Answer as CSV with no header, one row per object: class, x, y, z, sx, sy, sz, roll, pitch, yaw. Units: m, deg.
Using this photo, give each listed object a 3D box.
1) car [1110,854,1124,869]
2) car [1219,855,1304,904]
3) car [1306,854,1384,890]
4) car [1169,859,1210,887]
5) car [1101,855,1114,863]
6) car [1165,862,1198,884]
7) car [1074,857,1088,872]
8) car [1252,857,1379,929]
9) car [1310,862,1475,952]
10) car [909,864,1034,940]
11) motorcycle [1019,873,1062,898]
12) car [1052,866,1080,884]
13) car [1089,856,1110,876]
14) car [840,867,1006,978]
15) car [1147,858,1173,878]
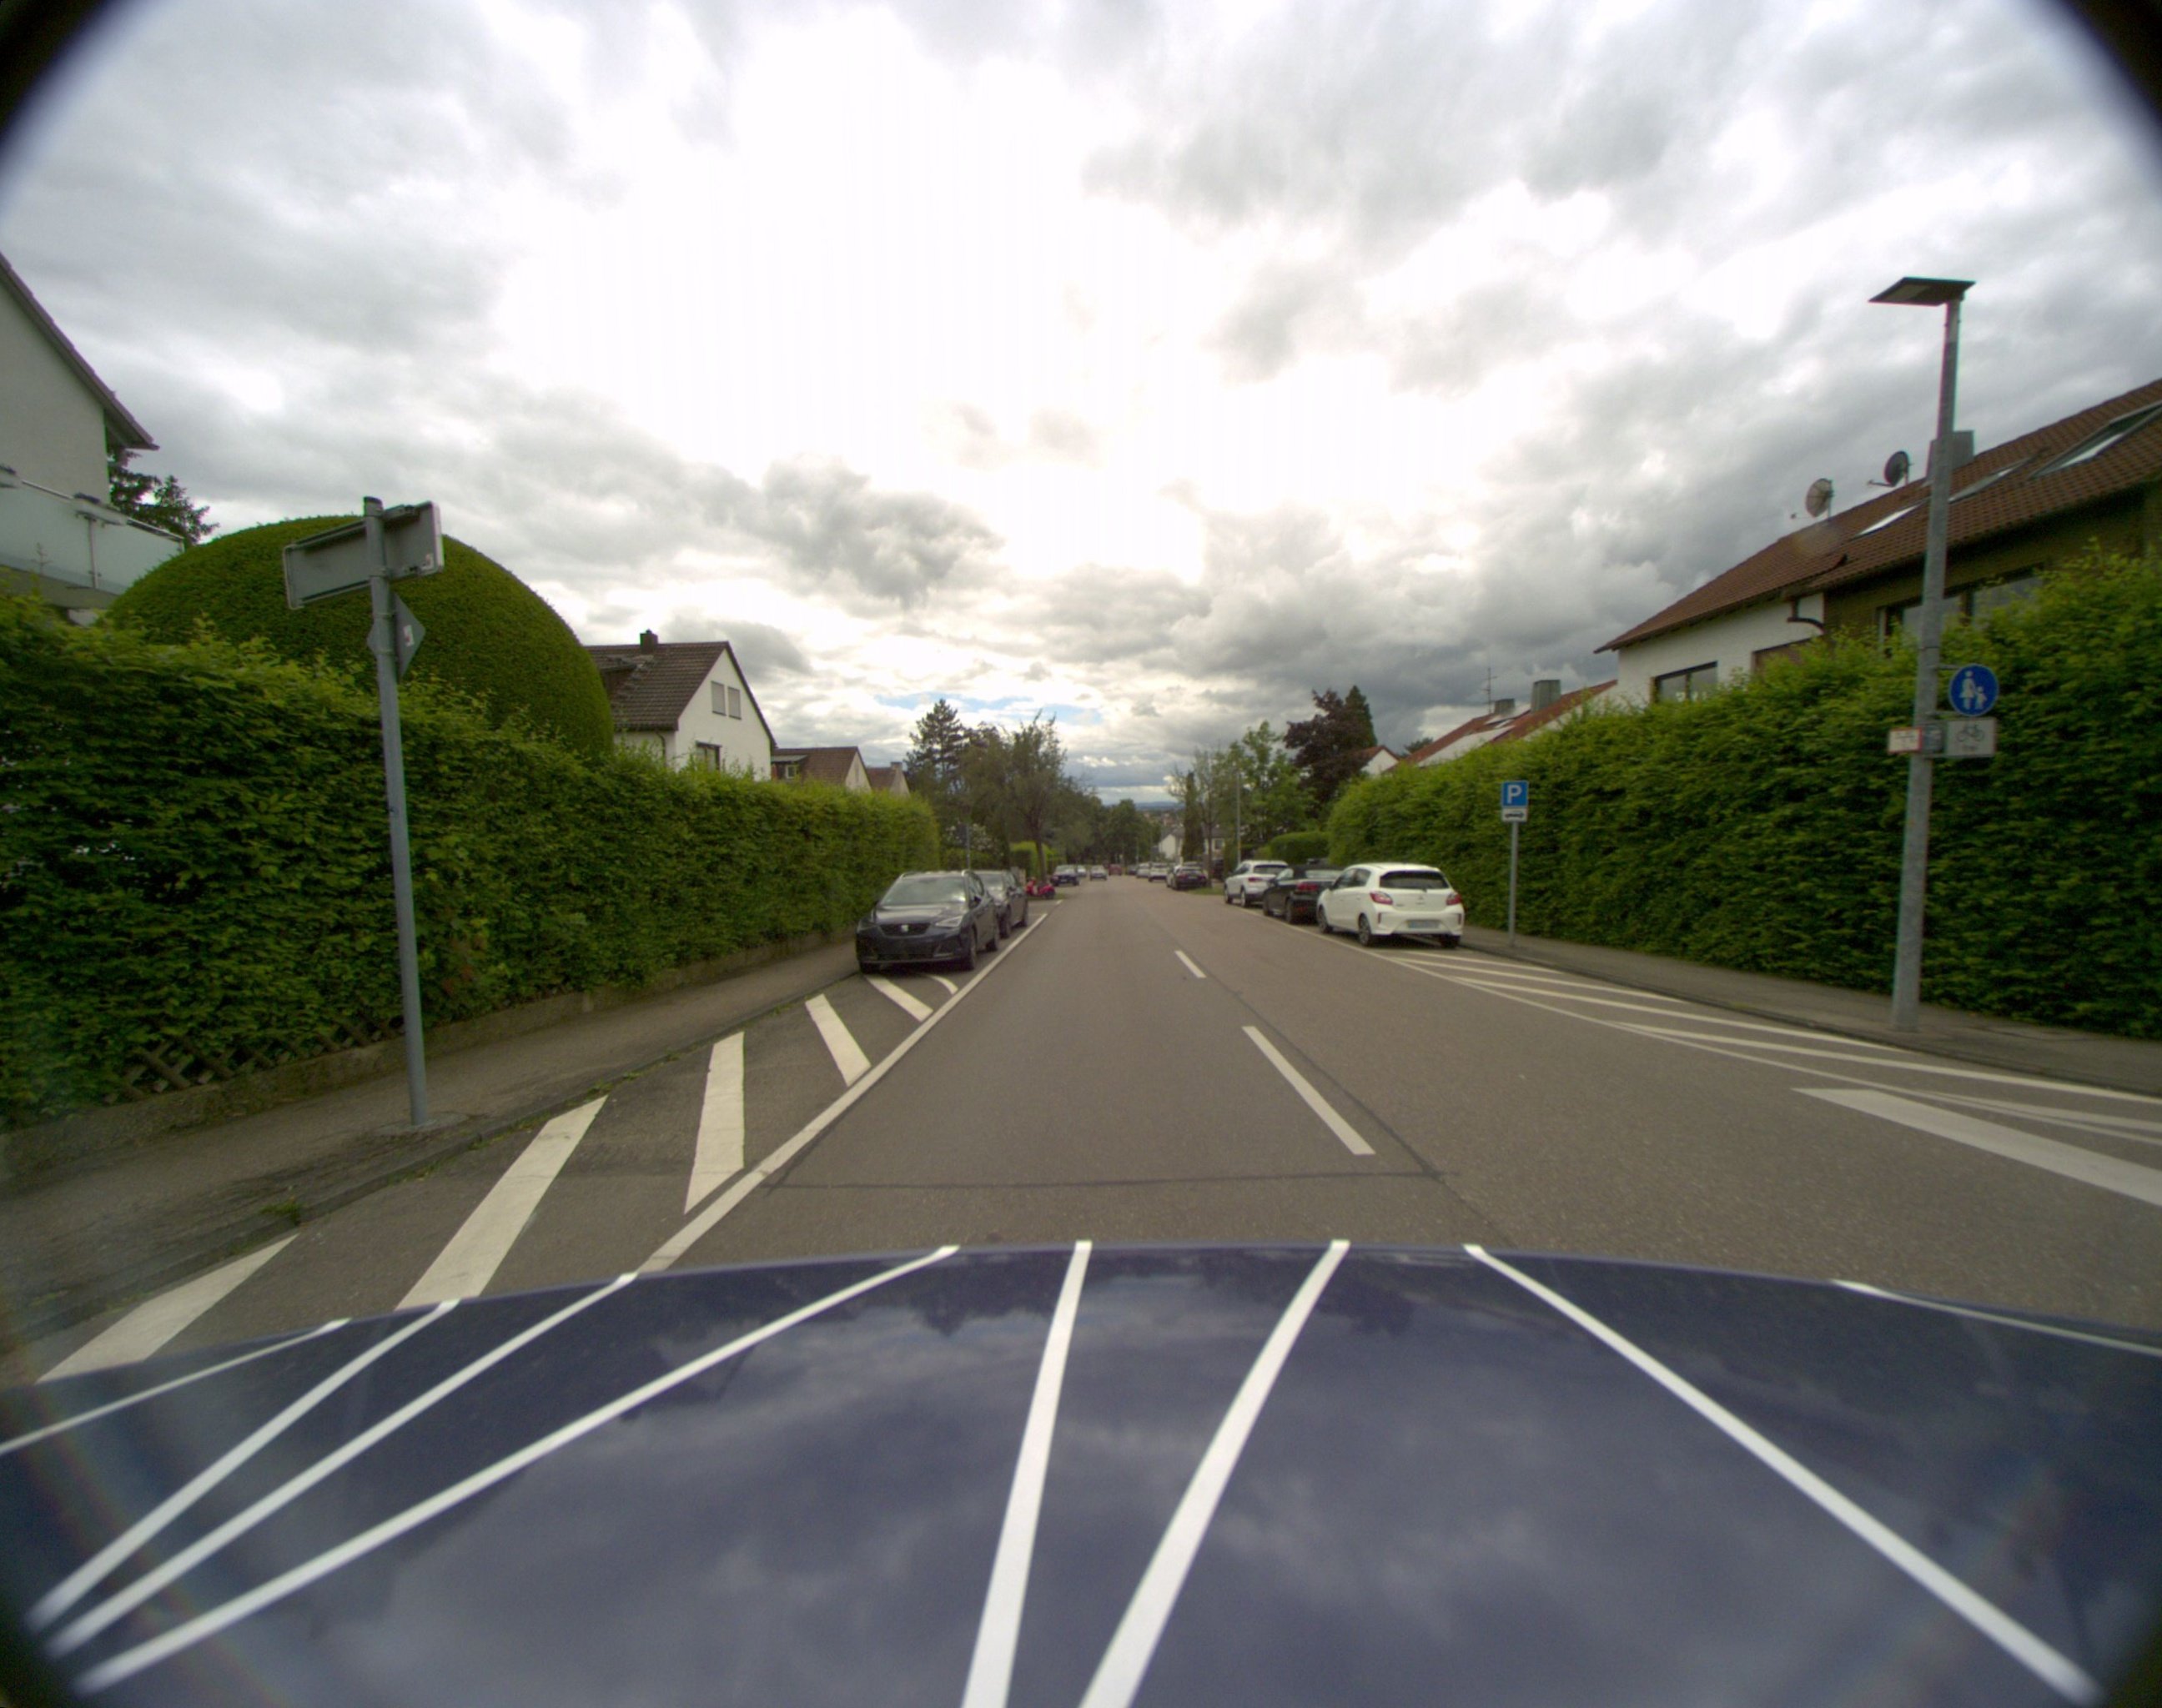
car,5.364,1.123,112.619,1.871,2.002,4.000,-3,0,1
car,5.911,0.790,25.428,1.890,1.481,4.342,-1,0,1
car,11.354,0.757,32.837,2.887,1.497,1.499,-1,0,5
car,6.369,1.081,44.902,1.944,1.540,4.006,-1,0,1
car,5.302,1.006,154.540,2.000,1.712,3.997,-1,0,-7
car,6.568,1.203,49.934,1.725,1.368,4.000,-1,0,1
car,0.030,1.445,107.399,1.746,2.002,4.000,-3,0,2
car,5.735,0.869,19.227,1.786,1.481,4.739,2,1,1
car,5.676,0.884,14.332,1.693,1.411,3.580,1,0,2
car,-2.425,1.025,18.256,1.928,1.485,5.210,-1,0,4
motorcycle,-1.954,1.527,36.588,1.942,1.127,0.658,2,0,-26
car,-1.128,1.653,60.152,1.998,1.221,4.000,-1,0,1
car,1.939,1.276,79.879,1.998,2.001,4.002,-3,-1,3
car,-2.431,1.000,12.823,1.794,1.480,4.379,-1,0,1
car,7.055,1.234,67.901,1.935,1.521,4.000,-3,1,2
